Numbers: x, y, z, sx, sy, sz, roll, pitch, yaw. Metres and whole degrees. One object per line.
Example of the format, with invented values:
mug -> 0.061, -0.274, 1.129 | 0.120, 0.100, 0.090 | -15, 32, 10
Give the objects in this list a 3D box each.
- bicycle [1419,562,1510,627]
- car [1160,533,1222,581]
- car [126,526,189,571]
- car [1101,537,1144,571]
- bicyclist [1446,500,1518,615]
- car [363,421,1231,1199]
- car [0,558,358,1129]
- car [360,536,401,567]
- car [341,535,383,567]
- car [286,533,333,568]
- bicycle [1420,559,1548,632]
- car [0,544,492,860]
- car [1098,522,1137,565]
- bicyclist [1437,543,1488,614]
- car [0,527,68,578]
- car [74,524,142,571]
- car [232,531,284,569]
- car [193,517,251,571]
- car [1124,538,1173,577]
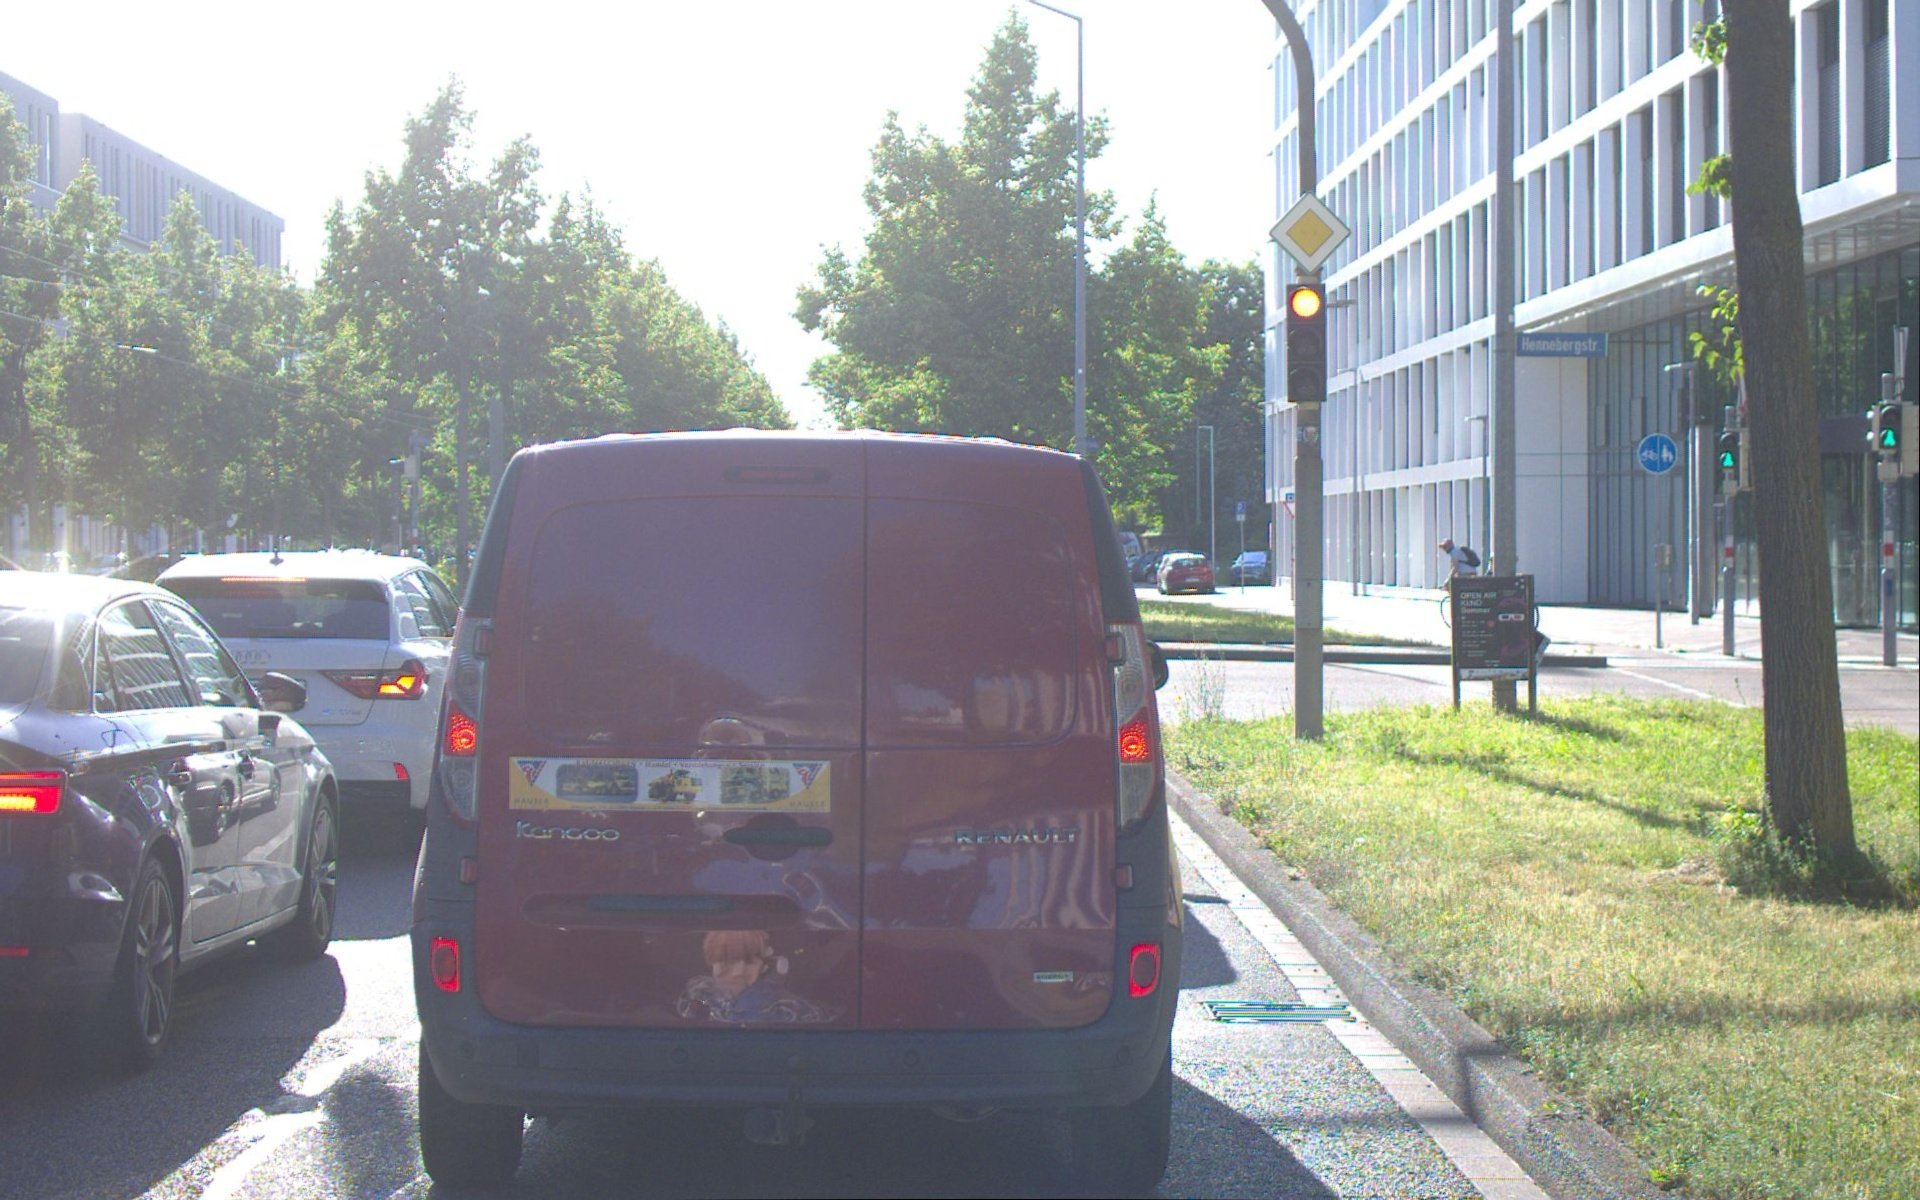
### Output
bicycle -> 9.054, -0.115, 61.789 | 0.818, 1.111, 2.847 | 0, 1, -9
car -> 8.580, -1.622, 128.016 | 1.993, 1.776, 4.000 | 0, 1, -1
car -> -36.962, -2.384, 158.419 | 1.993, 2.007, 4.000 | 0, 1, -1
car -> 8.491, -2.429, 179.810 | 1.993, 1.776, 4.000 | 0, 1, -1
bicyclist -> 8.832, -0.723, 58.216 | 0.815, 1.940, 1.002 | 0, 1, -20
car -> -0.372, 0.471, 9.315 | 1.842, 1.774, 4.000 | 0, 1, -1
car -> -3.188, 0.595, 10.918 | 1.842, 1.421, 4.339 | 0, 1, -1
car -> -37.542, -3.160, 222.861 | 1.993, 2.007, 4.000 | 0, 1, -1
car -> -37.753, -3.103, 217.237 | 1.993, 2.007, 4.000 | 0, 1, -1
car -> -37.672, -2.889, 199.220 | 1.993, 2.007, 4.000 | 0, 1, -1
bicycle -> 8.848, -0.098, 58.210 | 0.815, 1.186, 2.952 | 0, 1, -20
car -> -3.536, 0.431, 17.551 | 1.803, 1.421, 3.901 | 0, 1, -1
car -> 9.077, -3.262, 198.320 | 1.993, 2.488, 4.987 | 0, 1, -1
bicyclist -> 9.023, -0.386, 61.756 | 0.818, 1.270, 0.683 | 0, 1, 2
car -> -36.895, -1.906, 136.492 | 1.993, 2.007, 4.000 | 0, 1, -1
car -> -36.975, -2.278, 149.319 | 1.993, 2.007, 4.000 | 0, 1, -1
car -> -37.222, -2.675, 182.405 | 1.993, 2.007, 4.000 | 0, 1, -1
car -> -36.130, -2.764, 168.347 | 1.993, 2.598, 4.000 | 0, 1, -1
car -> 8.788, -1.995, 160.613 | 1.993, 1.776, 4.000 | 0, 1, -1
